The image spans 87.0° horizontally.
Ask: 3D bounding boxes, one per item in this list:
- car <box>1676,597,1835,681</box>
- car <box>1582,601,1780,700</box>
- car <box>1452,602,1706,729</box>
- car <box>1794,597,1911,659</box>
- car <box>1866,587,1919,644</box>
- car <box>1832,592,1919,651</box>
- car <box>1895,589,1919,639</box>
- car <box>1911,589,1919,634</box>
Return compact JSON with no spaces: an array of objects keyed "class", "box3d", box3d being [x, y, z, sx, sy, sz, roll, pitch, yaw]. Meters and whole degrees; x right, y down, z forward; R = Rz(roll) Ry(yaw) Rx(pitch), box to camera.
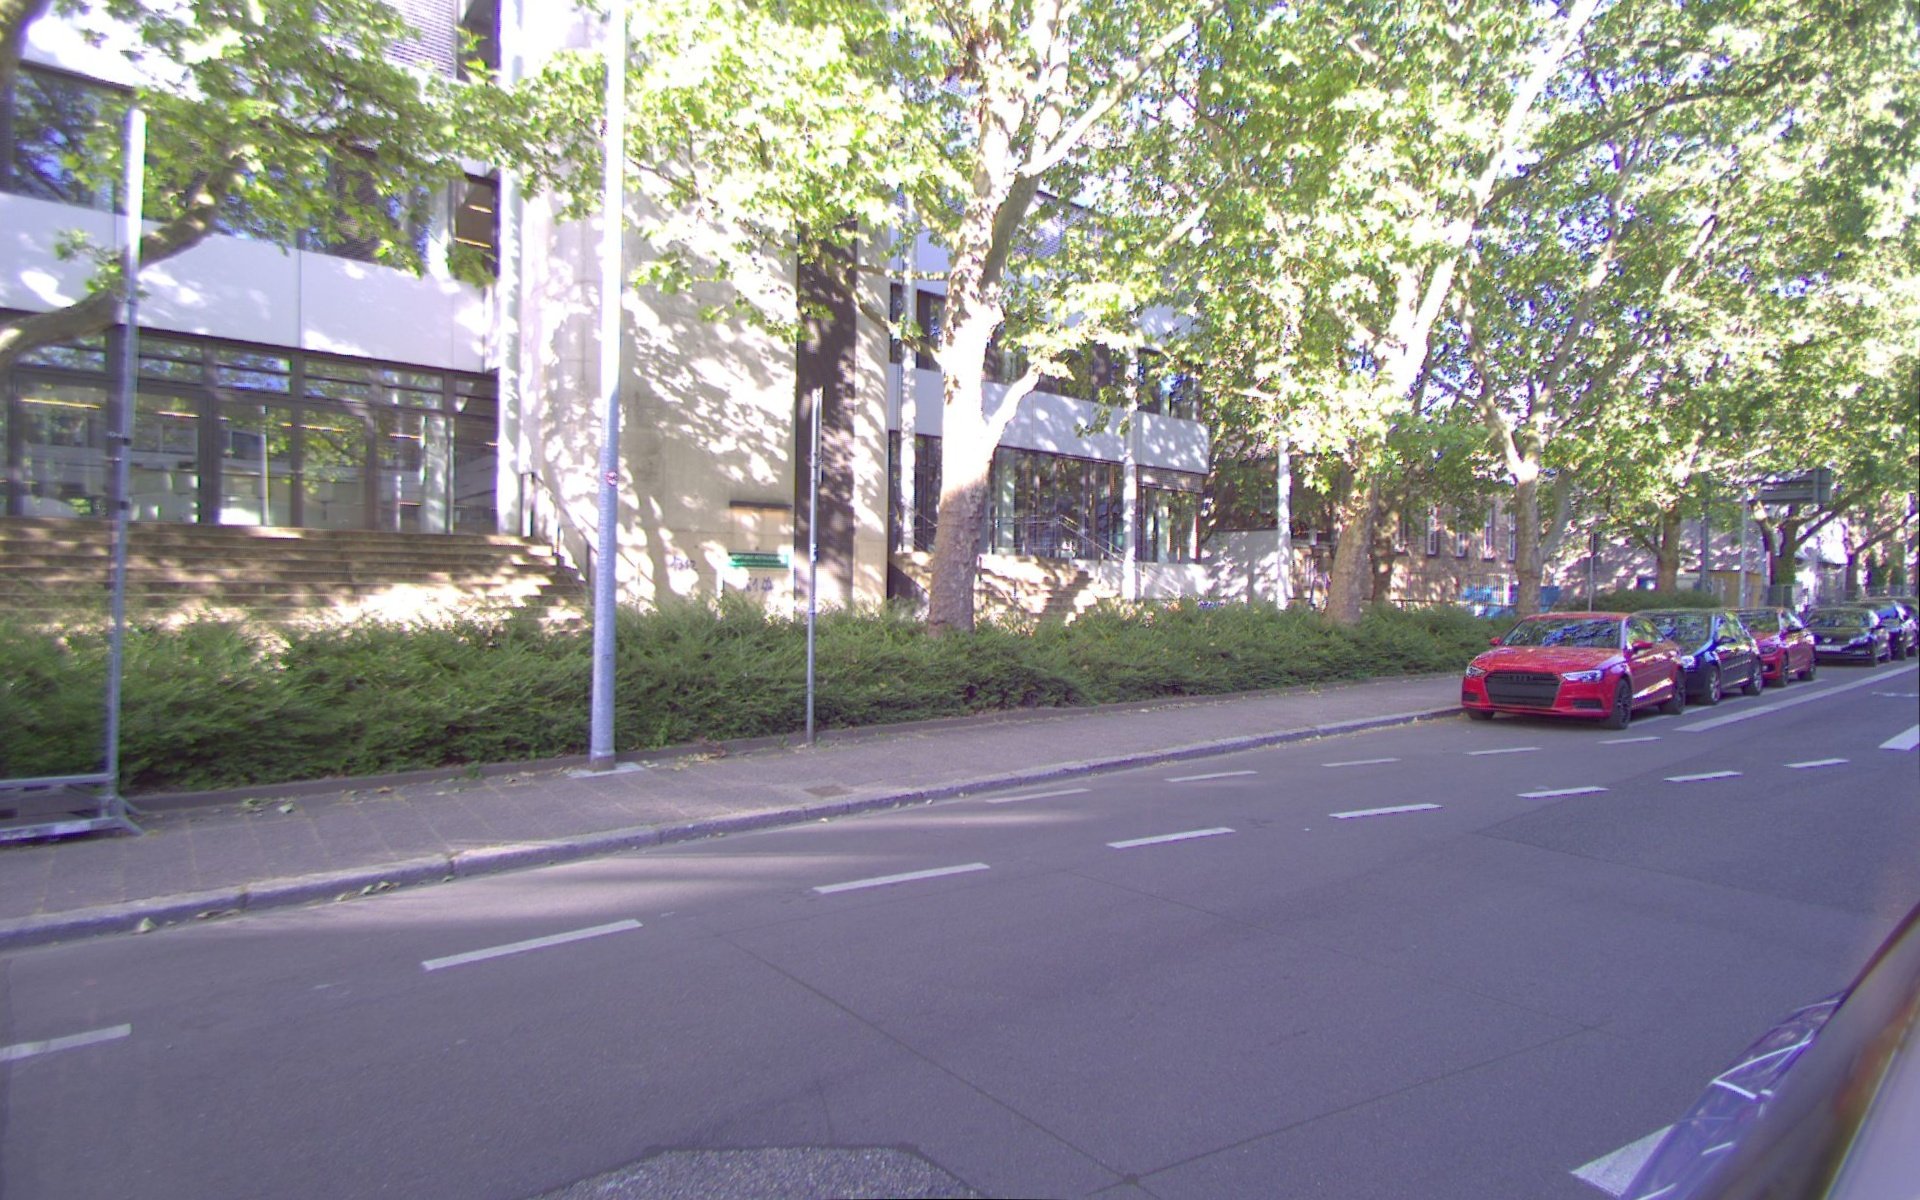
[{"class":"car","box3d":[15.871,0.699,20.113,4.092,1.502,1.815,0,-1,-42]},{"class":"car","box3d":[11.965,0.737,16.692,4.092,1.431,1.815,0,-1,-42]},{"class":"car","box3d":[8.371,0.752,13.552,4.092,1.431,1.815,0,-1,-42]},{"class":"car","box3d":[23.063,0.677,26.106,4.092,1.478,1.788,0,-1,-42]},{"class":"car","box3d":[31.069,0.486,33.020,4.271,1.777,1.788,0,-1,-42]},{"class":"car","box3d":[26.608,0.586,29.137,4.092,1.573,1.788,0,-1,-42]},{"class":"car","box3d":[35.922,0.480,37.256,4.475,1.777,1.788,0,-1,-42]},{"class":"car","box3d":[39.639,0.435,40.406,4.475,1.777,2.040,0,-1,-42]}]
